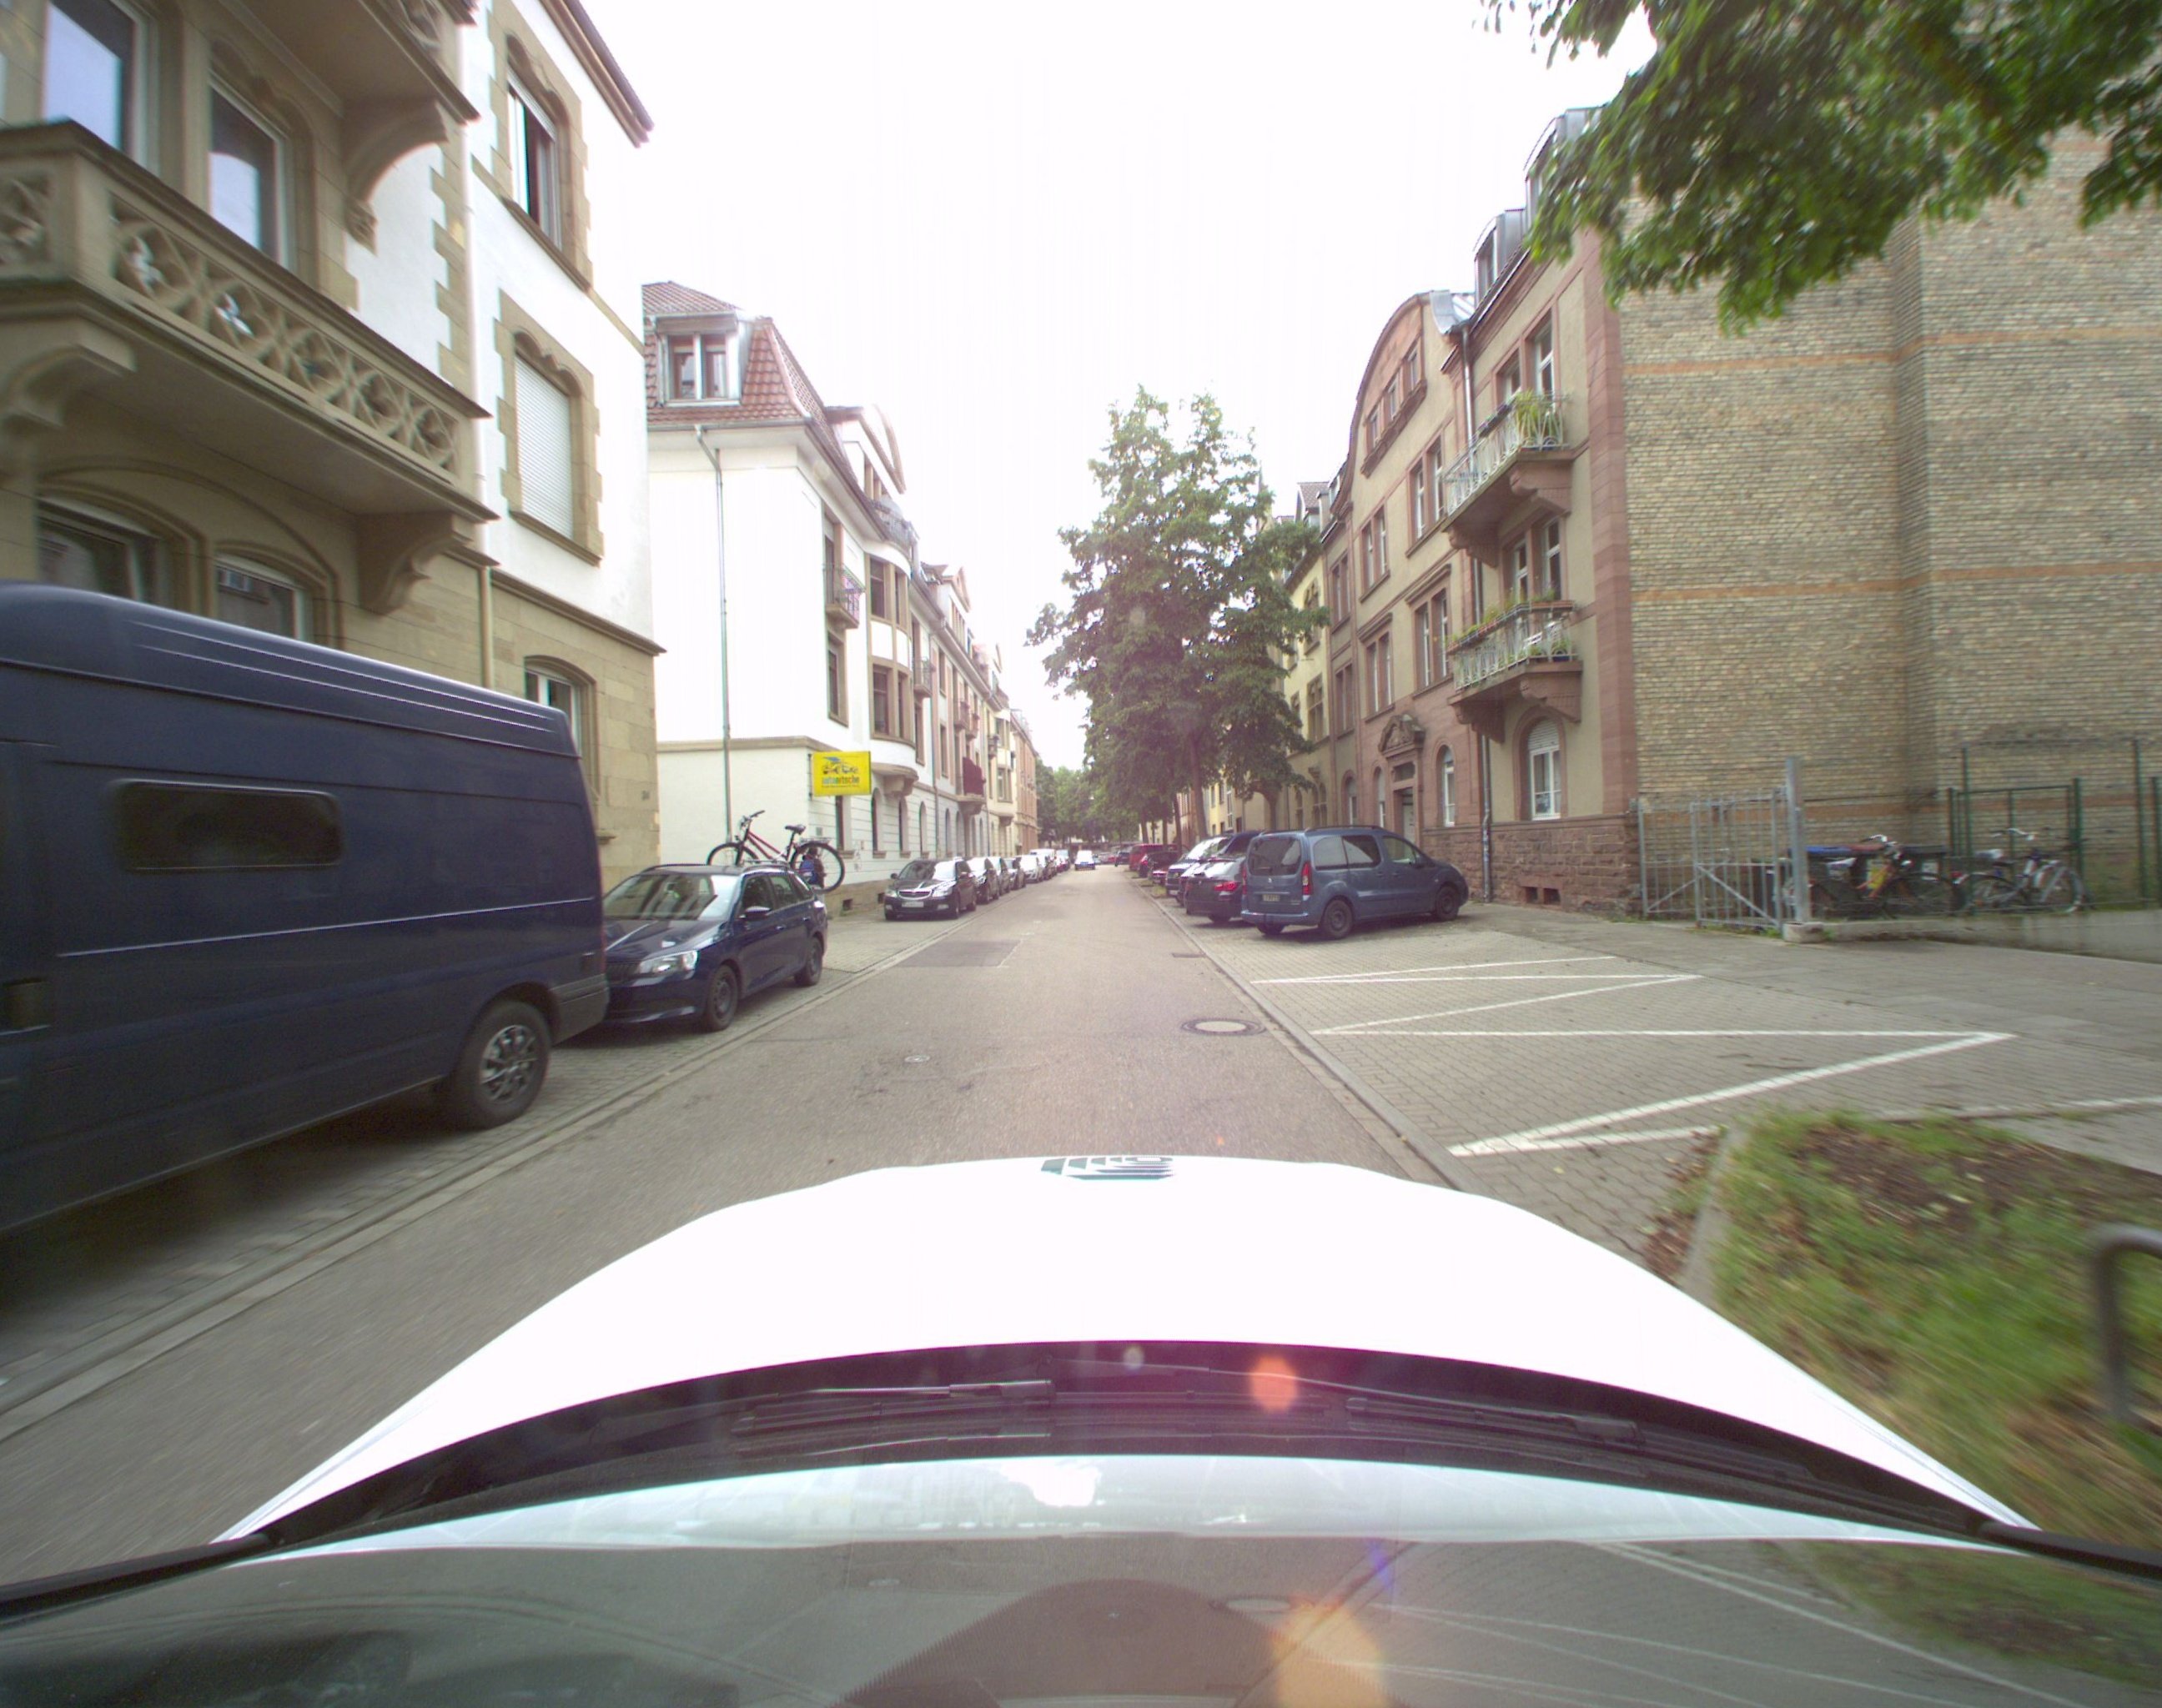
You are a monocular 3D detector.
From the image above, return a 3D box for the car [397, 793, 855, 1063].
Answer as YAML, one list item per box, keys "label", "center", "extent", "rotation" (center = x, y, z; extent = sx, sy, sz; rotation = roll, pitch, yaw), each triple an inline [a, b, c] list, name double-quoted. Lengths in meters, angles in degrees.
- label: "car"
  center: [-4.176, 0.569, 8.701]
  extent: [1.986, 2.013, 4.892]
  rotation: [-2, 0, 1]

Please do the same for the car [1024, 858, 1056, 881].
- label: "car"
  center: [-2.742, 1.000, 54.931]
  extent: [1.779, 1.444, 3.889]
  rotation: [-2, 0, 1]

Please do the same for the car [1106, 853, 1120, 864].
- label: "car"
  center: [4.550, 0.656, 115.020]
  extent: [1.864, 1.530, 4.000]
  rotation: [-2, 0, 1]

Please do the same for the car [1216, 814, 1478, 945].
- label: "car"
  center: [4.746, 0.383, 14.471]
  extent: [4.197, 1.869, 1.981]
  rotation: [-4, -1, -29]

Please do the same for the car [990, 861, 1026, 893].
- label: "car"
  center: [-3.200, 0.974, 35.964]
  extent: [1.205, 1.309, 3.261]
  rotation: [-2, 0, 1]

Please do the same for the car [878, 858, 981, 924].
- label: "car"
  center: [-3.735, 0.862, 20.721]
  extent: [1.783, 1.480, 4.023]
  rotation: [-1, 0, 1]

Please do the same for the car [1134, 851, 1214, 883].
- label: "car"
  center: [4.664, 0.655, 41.137]
  extent: [3.754, 1.465, 1.727]
  rotation: [-2, 0, -4]

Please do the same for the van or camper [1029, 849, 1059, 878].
- label: "van or camper"
  center: [-2.677, 0.671, 59.801]
  extent: [1.875, 1.967, 4.409]
  rotation: [-2, 0, 1]

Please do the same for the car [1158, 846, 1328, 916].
- label: "car"
  center: [4.048, 0.633, 20.345]
  extent: [3.883, 1.499, 1.786]
  rotation: [-2, 0, -28]

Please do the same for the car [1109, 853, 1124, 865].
- label: "car"
  center: [4.796, 0.643, 110.590]
  extent: [1.864, 1.530, 3.840]
  rotation: [-2, 0, 1]

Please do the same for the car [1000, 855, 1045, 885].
- label: "car"
  center: [-3.075, 0.816, 43.444]
  extent: [1.986, 1.475, 4.001]
  rotation: [-2, 0, 1]

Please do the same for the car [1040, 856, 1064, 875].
- label: "car"
  center: [-2.521, 0.982, 72.481]
  extent: [1.779, 1.455, 3.889]
  rotation: [-6, 0, 1]

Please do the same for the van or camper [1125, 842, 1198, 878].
- label: "van or camper"
  center: [5.029, 0.351, 50.888]
  extent: [4.169, 2.085, 1.935]
  rotation: [-2, 0, -27]

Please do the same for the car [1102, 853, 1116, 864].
- label: "car"
  center: [4.121, 0.626, 120.575]
  extent: [1.864, 1.628, 4.000]
  rotation: [-2, 0, 1]

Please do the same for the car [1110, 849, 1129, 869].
- label: "car"
  center: [4.114, 0.543, 87.789]
  extent: [1.986, 2.013, 4.000]
  rotation: [1, 0, 1]

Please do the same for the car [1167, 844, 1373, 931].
- label: "car"
  center: [4.035, 0.647, 17.310]
  extent: [4.035, 1.559, 1.866]
  rotation: [-2, 0, -30]

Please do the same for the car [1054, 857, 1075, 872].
- label: "car"
  center: [-1.567, 0.985, 77.699]
  extent: [1.779, 1.374, 3.889]
  rotation: [-2, 0, 1]

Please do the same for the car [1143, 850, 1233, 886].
- label: "car"
  center: [4.818, 0.627, 36.948]
  extent: [3.754, 1.465, 1.727]
  rotation: [-2, 0, -4]

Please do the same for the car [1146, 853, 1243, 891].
- label: "car"
  center: [4.696, 0.751, 33.980]
  extent: [3.703, 1.408, 1.573]
  rotation: [-2, 0, -4]

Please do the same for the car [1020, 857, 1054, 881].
- label: "car"
  center: [-2.670, 0.911, 49.857]
  extent: [1.779, 1.374, 3.508]
  rotation: [-2, 0, 1]

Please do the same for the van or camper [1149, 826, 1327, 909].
- label: "van or camper"
  center: [4.515, 0.324, 23.266]
  extent: [4.805, 2.137, 2.036]
  rotation: [-2, 0, -30]

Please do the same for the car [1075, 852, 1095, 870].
- label: "car"
  center: [0.440, 0.656, 77.271]
  extent: [1.814, 1.645, 3.754]
  rotation: [-2, 0, 1]

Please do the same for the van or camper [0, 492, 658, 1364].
- label: "van or camper"
  center: [-4.254, 0.213, 3.401]
  extent: [2.001, 2.651, 5.317]
  rotation: [1, 0, 1]

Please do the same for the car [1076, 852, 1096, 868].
- label: "car"
  center: [0.540, 0.662, 88.440]
  extent: [1.900, 1.678, 4.003]
  rotation: [-2, 0, 3]

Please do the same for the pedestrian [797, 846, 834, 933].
- label: "pedestrian"
  center: [-5.406, 0.706, 16.623]
  extent: [0.543, 1.740, 0.656]
  rotation: [0, 0, -1]

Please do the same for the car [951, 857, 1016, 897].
- label: "car"
  center: [-3.694, 0.852, 31.438]
  extent: [1.940, 1.403, 4.000]
  rotation: [1, 0, 1]

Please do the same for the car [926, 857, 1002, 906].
- label: "car"
  center: [-3.675, 0.825, 26.204]
  extent: [1.823, 1.426, 3.802]
  rotation: [1, 0, 1]

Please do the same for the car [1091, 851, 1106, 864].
- label: "car"
  center: [2.407, 0.498, 110.739]
  extent: [1.987, 1.794, 4.000]
  rotation: [-1, -1, 1]
